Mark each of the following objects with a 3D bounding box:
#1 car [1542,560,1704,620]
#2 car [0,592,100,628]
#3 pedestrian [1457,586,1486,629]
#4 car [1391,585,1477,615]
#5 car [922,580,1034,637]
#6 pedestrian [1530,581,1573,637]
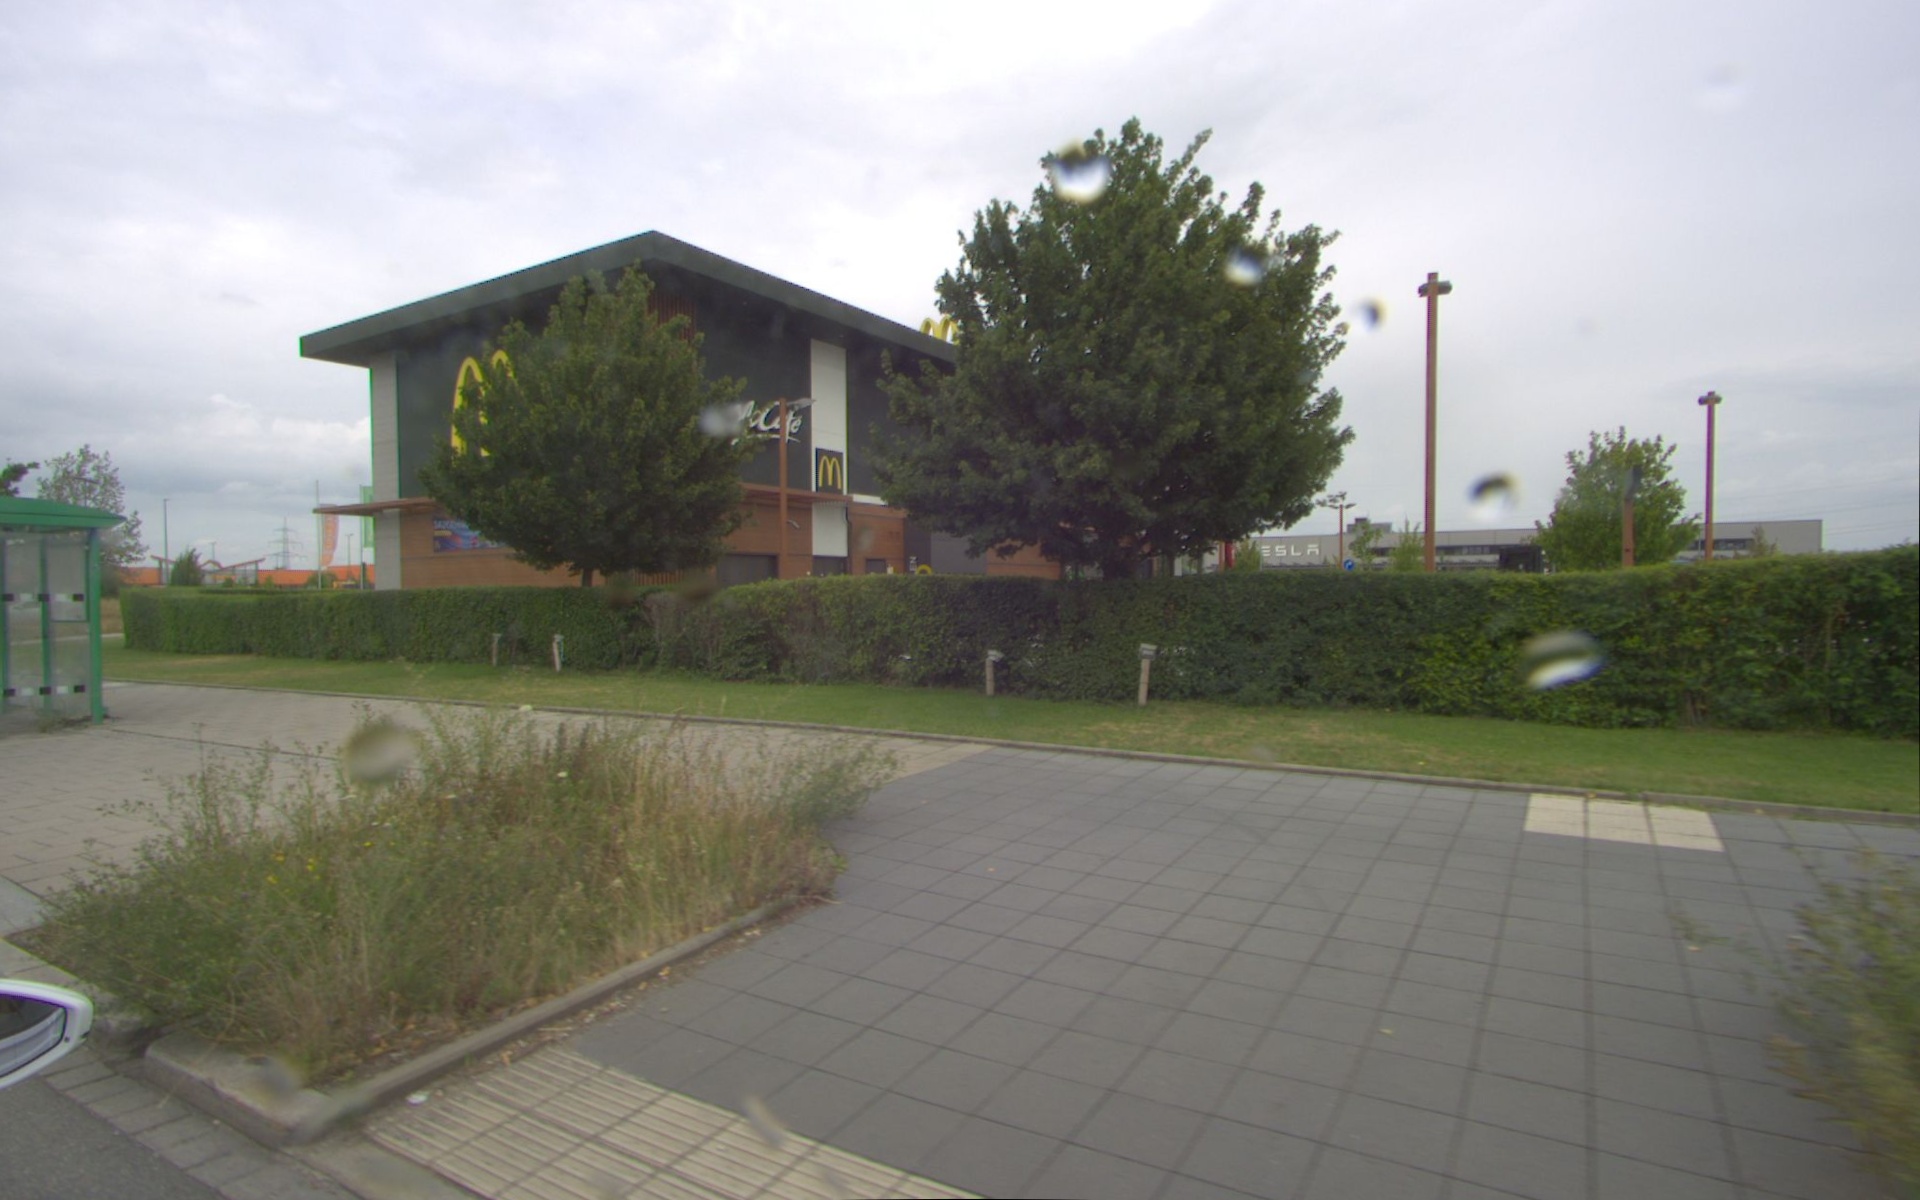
[{"bbox_3d":[29.196,-0.451,44.157,5.932,2.562,2.280,0,1,-8],"label":"car"},{"bbox_3d":[-46.406,0.498,50.364,1.978,1.780,4.578,0,0,42],"label":"car"},{"bbox_3d":[20.022,0.303,39.179,0.673,1.649,0.739,0,0,-20],"label":"pedestrian"},{"bbox_3d":[29.535,0.027,62.434,4.695,1.803,1.946,-1,0,32],"label":"car"},{"bbox_3d":[0.657,0.289,32.945,1.971,1.739,3.979,0,0,32],"label":"car"},{"bbox_3d":[15.657,0.248,26.520,0.755,1.458,0.624,0,1,1],"label":"pedestrian"}]
